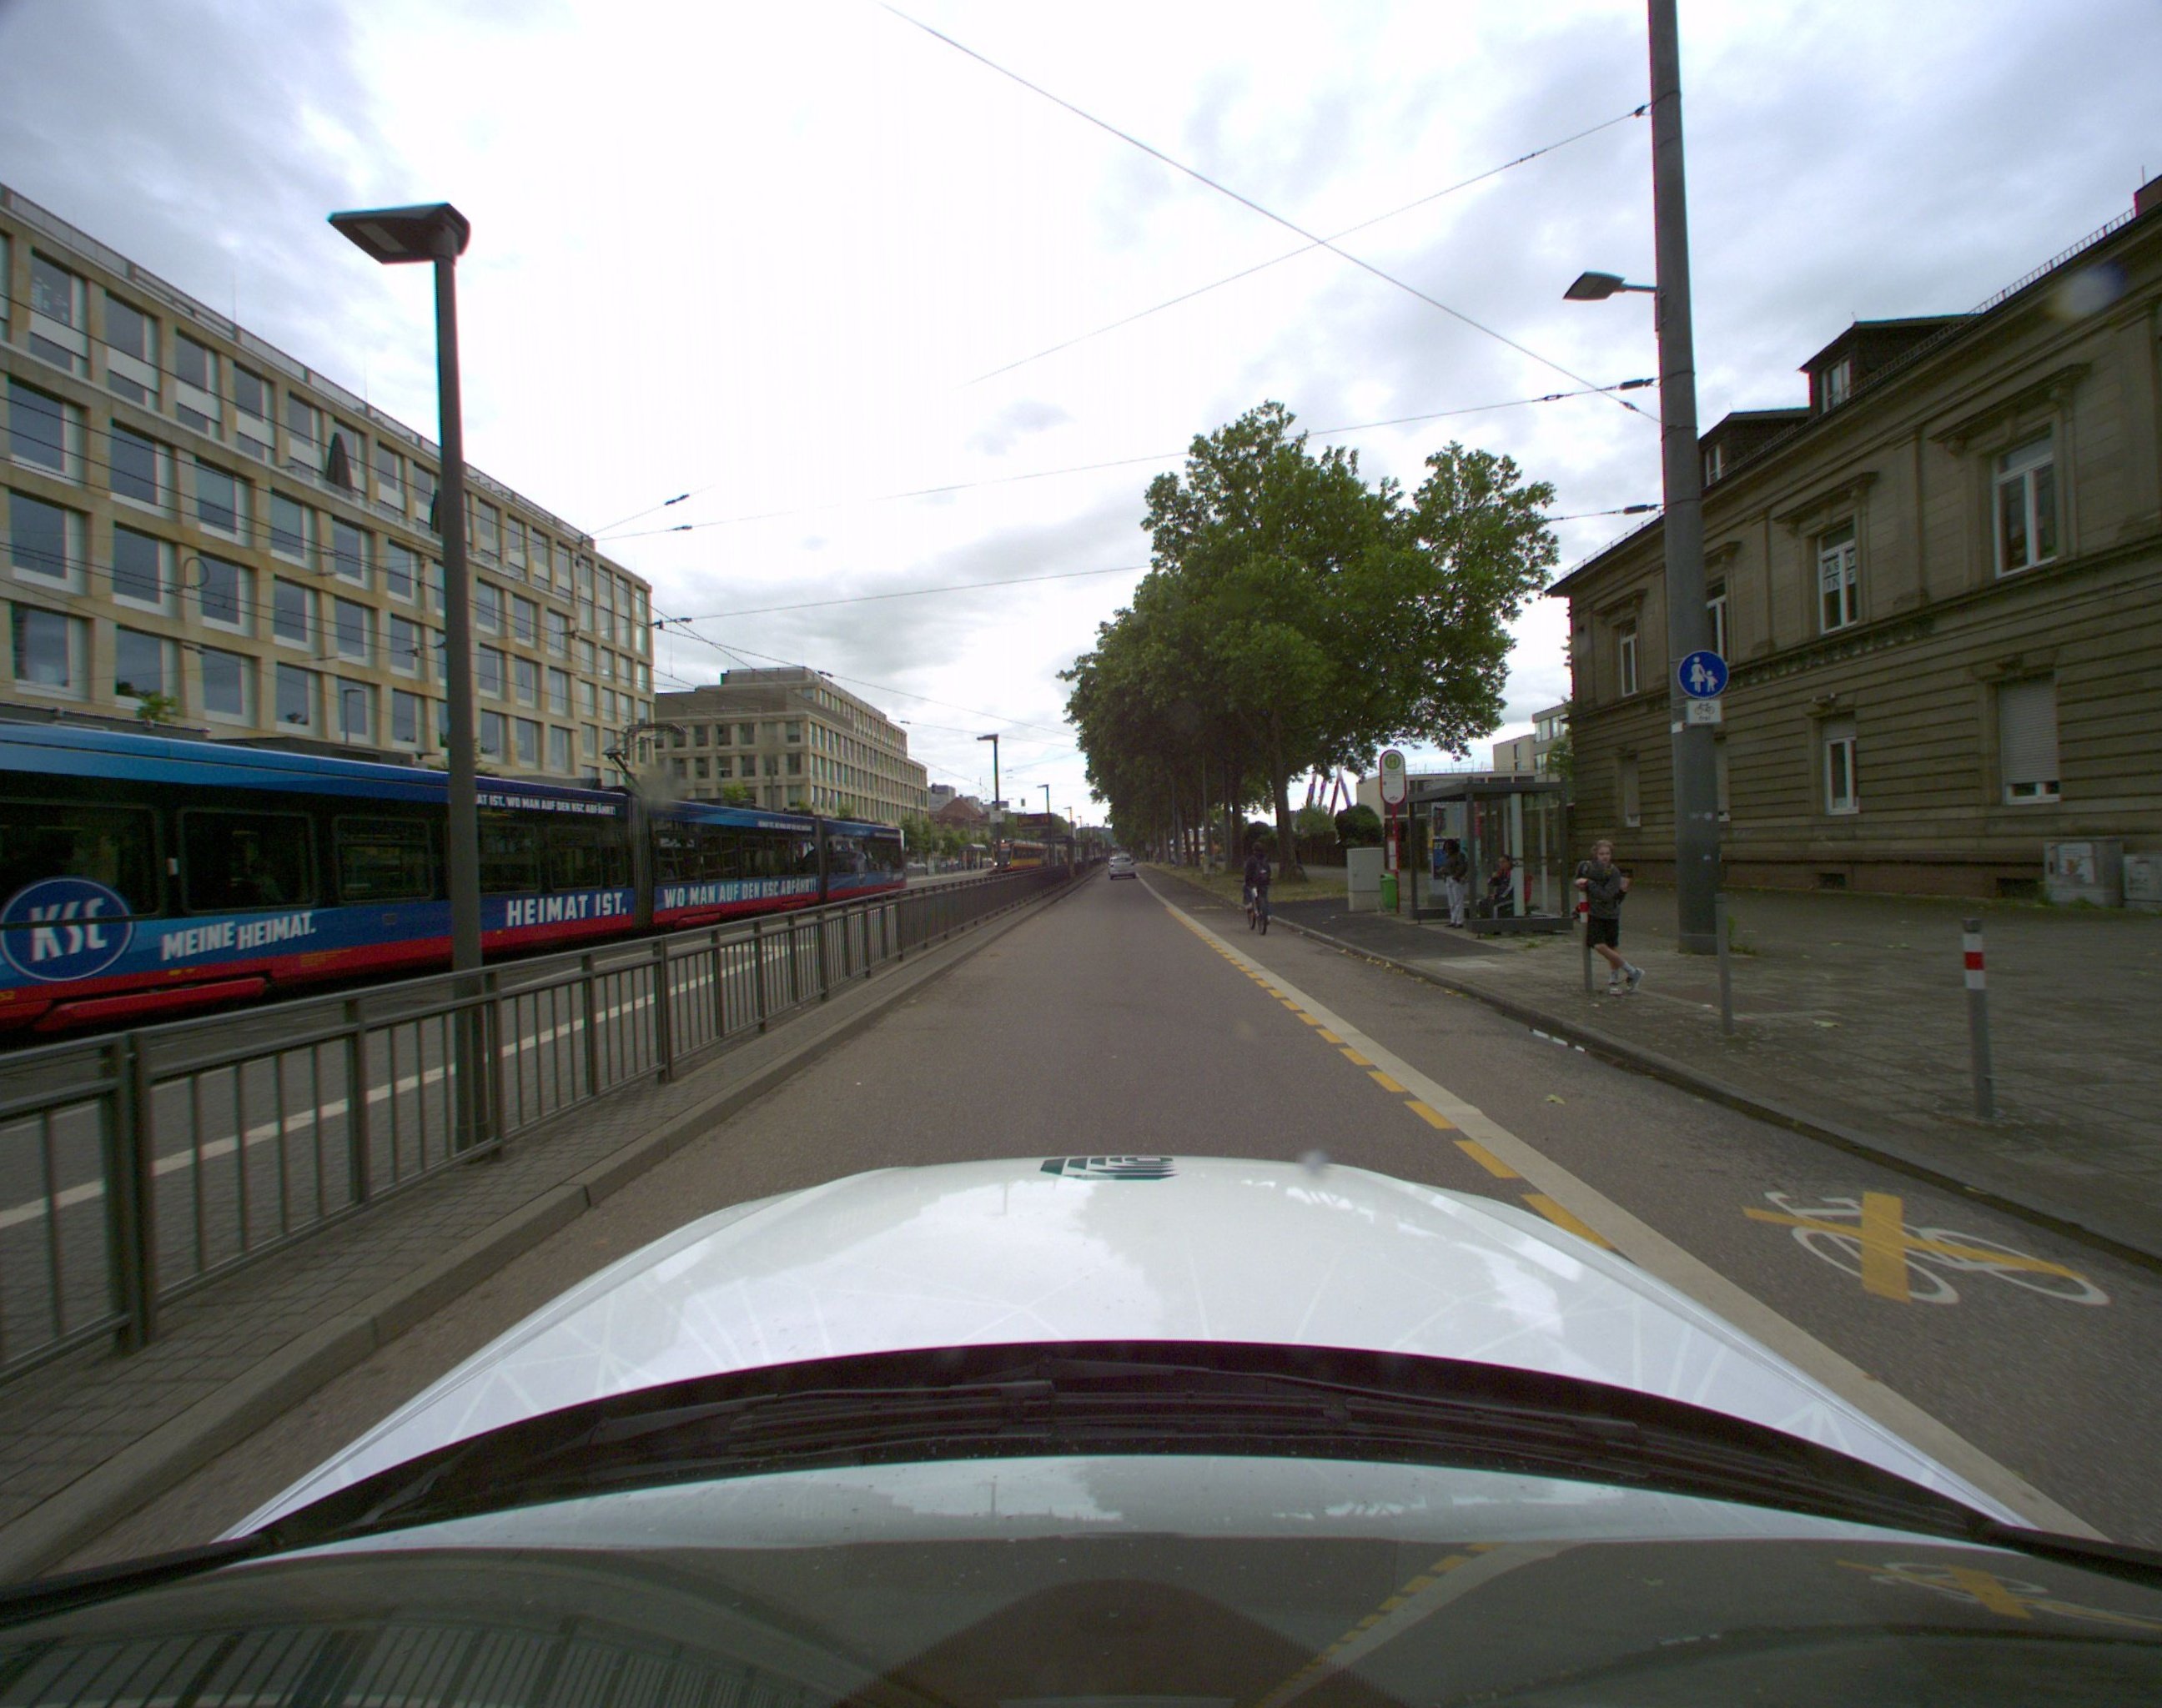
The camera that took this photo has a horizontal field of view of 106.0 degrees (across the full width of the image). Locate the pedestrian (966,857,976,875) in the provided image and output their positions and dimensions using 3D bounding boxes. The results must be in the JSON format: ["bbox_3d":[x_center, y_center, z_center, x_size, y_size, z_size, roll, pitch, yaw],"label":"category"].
[{"bbox_3d":[-11.210,1.247,83.041,0.709,1.795,1.161,-2,-1,2],"label":"pedestrian"}]

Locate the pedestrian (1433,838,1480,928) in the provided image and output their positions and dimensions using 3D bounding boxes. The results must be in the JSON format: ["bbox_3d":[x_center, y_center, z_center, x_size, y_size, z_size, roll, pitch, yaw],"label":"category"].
[{"bbox_3d":[6.774,0.510,14.701,0.474,1.563,0.703,-2,-1,2],"label":"pedestrian"}]

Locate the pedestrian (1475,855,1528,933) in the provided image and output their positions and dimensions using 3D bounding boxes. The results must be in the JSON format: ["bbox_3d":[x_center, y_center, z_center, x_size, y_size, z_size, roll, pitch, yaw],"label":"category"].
[{"bbox_3d":[6.932,0.647,13.448,0.474,1.234,0.703,-2,-1,2],"label":"pedestrian"}]

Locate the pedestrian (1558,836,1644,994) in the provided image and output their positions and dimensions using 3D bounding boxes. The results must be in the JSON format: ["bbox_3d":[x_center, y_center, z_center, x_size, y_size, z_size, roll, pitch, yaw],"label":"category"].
[{"bbox_3d":[5.253,0.603,8.259,0.547,1.528,0.641,-3,-1,20],"label":"pedestrian"}]

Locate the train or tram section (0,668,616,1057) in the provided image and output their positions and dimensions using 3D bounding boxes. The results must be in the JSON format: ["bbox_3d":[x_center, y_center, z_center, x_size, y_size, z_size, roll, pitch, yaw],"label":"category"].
[{"bbox_3d":[-11.407,0.179,11.156,2.844,3.640,11.770,-2,-1,2],"label":"train or tram section"}]

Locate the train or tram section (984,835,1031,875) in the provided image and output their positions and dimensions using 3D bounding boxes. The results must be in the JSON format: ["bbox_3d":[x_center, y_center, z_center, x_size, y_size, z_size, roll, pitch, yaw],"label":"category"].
[{"bbox_3d":[-7.773,0.202,87.798,3.224,3.862,11.320,-2,-1,3],"label":"train or tram section"}]

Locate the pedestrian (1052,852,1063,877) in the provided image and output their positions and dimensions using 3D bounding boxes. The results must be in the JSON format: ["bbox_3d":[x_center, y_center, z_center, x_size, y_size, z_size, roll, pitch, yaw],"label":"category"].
[{"bbox_3d":[-1.744,0.756,60.363,0.669,1.793,1.111,-2,-1,-6],"label":"pedestrian"}]

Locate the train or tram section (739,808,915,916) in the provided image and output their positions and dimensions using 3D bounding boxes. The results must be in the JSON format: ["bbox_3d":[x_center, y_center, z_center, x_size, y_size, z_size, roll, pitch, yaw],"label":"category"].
[{"bbox_3d":[-10.352,0.384,35.545,2.844,3.692,13.526,-2,-1,2],"label":"train or tram section"}]

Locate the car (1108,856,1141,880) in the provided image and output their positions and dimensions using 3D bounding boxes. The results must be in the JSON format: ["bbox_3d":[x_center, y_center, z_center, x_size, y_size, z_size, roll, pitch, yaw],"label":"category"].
[{"bbox_3d":[3.020,0.947,55.579,1.875,1.453,4.008,-3,-1,7],"label":"car"}]

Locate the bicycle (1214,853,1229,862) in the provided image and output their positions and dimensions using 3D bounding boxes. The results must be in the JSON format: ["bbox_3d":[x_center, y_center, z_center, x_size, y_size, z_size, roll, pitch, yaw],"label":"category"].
[{"bbox_3d":[18.958,0.496,109.875,1.893,1.097,0.550,-4,-1,1],"label":"bicycle"}]

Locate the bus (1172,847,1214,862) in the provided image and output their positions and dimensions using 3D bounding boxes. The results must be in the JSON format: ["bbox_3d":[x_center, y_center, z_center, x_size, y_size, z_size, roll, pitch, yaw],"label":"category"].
[{"bbox_3d":[25.630,0.113,186.870,9.246,2.960,2.000,-2,-1,0],"label":"bus"}]

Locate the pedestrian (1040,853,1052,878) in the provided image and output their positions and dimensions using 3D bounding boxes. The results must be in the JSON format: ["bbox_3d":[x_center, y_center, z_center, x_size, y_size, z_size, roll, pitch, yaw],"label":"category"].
[{"bbox_3d":[-2.546,0.861,59.508,0.670,1.793,1.109,-2,-1,-10],"label":"pedestrian"}]

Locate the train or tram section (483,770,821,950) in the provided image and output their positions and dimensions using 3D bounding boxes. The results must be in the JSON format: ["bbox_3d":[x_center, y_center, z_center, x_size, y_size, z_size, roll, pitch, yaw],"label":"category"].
[{"bbox_3d":[-10.866,0.216,22.905,2.844,3.640,11.705,-2,-1,2],"label":"train or tram section"}]

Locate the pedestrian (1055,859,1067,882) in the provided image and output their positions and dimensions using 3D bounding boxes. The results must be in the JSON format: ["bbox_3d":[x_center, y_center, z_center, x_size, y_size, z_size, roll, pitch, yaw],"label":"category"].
[{"bbox_3d":[-1.178,0.982,48.081,0.608,1.341,0.600,-2,-1,3],"label":"pedestrian"}]

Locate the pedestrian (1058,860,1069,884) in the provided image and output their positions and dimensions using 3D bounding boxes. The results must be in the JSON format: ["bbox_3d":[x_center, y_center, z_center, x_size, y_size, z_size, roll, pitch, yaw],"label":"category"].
[{"bbox_3d":[-1.056,1.090,49.362,0.608,1.372,0.600,-2,-1,3],"label":"pedestrian"}]

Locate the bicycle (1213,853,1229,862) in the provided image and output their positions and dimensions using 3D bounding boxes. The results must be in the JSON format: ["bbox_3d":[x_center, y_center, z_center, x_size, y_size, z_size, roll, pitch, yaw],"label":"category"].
[{"bbox_3d":[18.783,0.470,109.298,1.883,1.105,0.550,-4,-1,1],"label":"bicycle"}]

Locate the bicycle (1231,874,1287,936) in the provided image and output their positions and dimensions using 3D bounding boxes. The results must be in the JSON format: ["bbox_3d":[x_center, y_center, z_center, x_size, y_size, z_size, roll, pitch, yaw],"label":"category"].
[{"bbox_3d":[3.600,0.999,16.640,0.650,1.150,2.283,-2,-1,1],"label":"bicycle"}]

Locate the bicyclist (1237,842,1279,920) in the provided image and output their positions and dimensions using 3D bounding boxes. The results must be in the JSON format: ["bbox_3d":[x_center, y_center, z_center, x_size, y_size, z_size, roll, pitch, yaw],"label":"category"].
[{"bbox_3d":[3.552,0.537,16.394,0.638,1.531,0.665,-2,-1,1],"label":"bicyclist"}]

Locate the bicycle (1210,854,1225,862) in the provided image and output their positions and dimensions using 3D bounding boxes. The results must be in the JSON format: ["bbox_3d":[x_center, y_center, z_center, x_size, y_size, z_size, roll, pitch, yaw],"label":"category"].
[{"bbox_3d":[19.150,0.546,114.454,1.915,1.091,0.550,-4,-1,1],"label":"bicycle"}]

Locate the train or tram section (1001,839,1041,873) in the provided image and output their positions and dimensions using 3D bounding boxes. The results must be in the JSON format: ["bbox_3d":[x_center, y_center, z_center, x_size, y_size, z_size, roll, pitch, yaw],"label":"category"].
[{"bbox_3d":[-7.151,0.312,99.142,3.150,3.862,11.320,-2,-1,3],"label":"train or tram section"}]

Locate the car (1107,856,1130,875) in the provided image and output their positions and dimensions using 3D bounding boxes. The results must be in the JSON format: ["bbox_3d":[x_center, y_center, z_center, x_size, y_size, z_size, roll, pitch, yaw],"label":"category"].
[{"bbox_3d":[3.408,1.049,72.656,1.832,1.552,4.005,-3,-1,4],"label":"car"}]
